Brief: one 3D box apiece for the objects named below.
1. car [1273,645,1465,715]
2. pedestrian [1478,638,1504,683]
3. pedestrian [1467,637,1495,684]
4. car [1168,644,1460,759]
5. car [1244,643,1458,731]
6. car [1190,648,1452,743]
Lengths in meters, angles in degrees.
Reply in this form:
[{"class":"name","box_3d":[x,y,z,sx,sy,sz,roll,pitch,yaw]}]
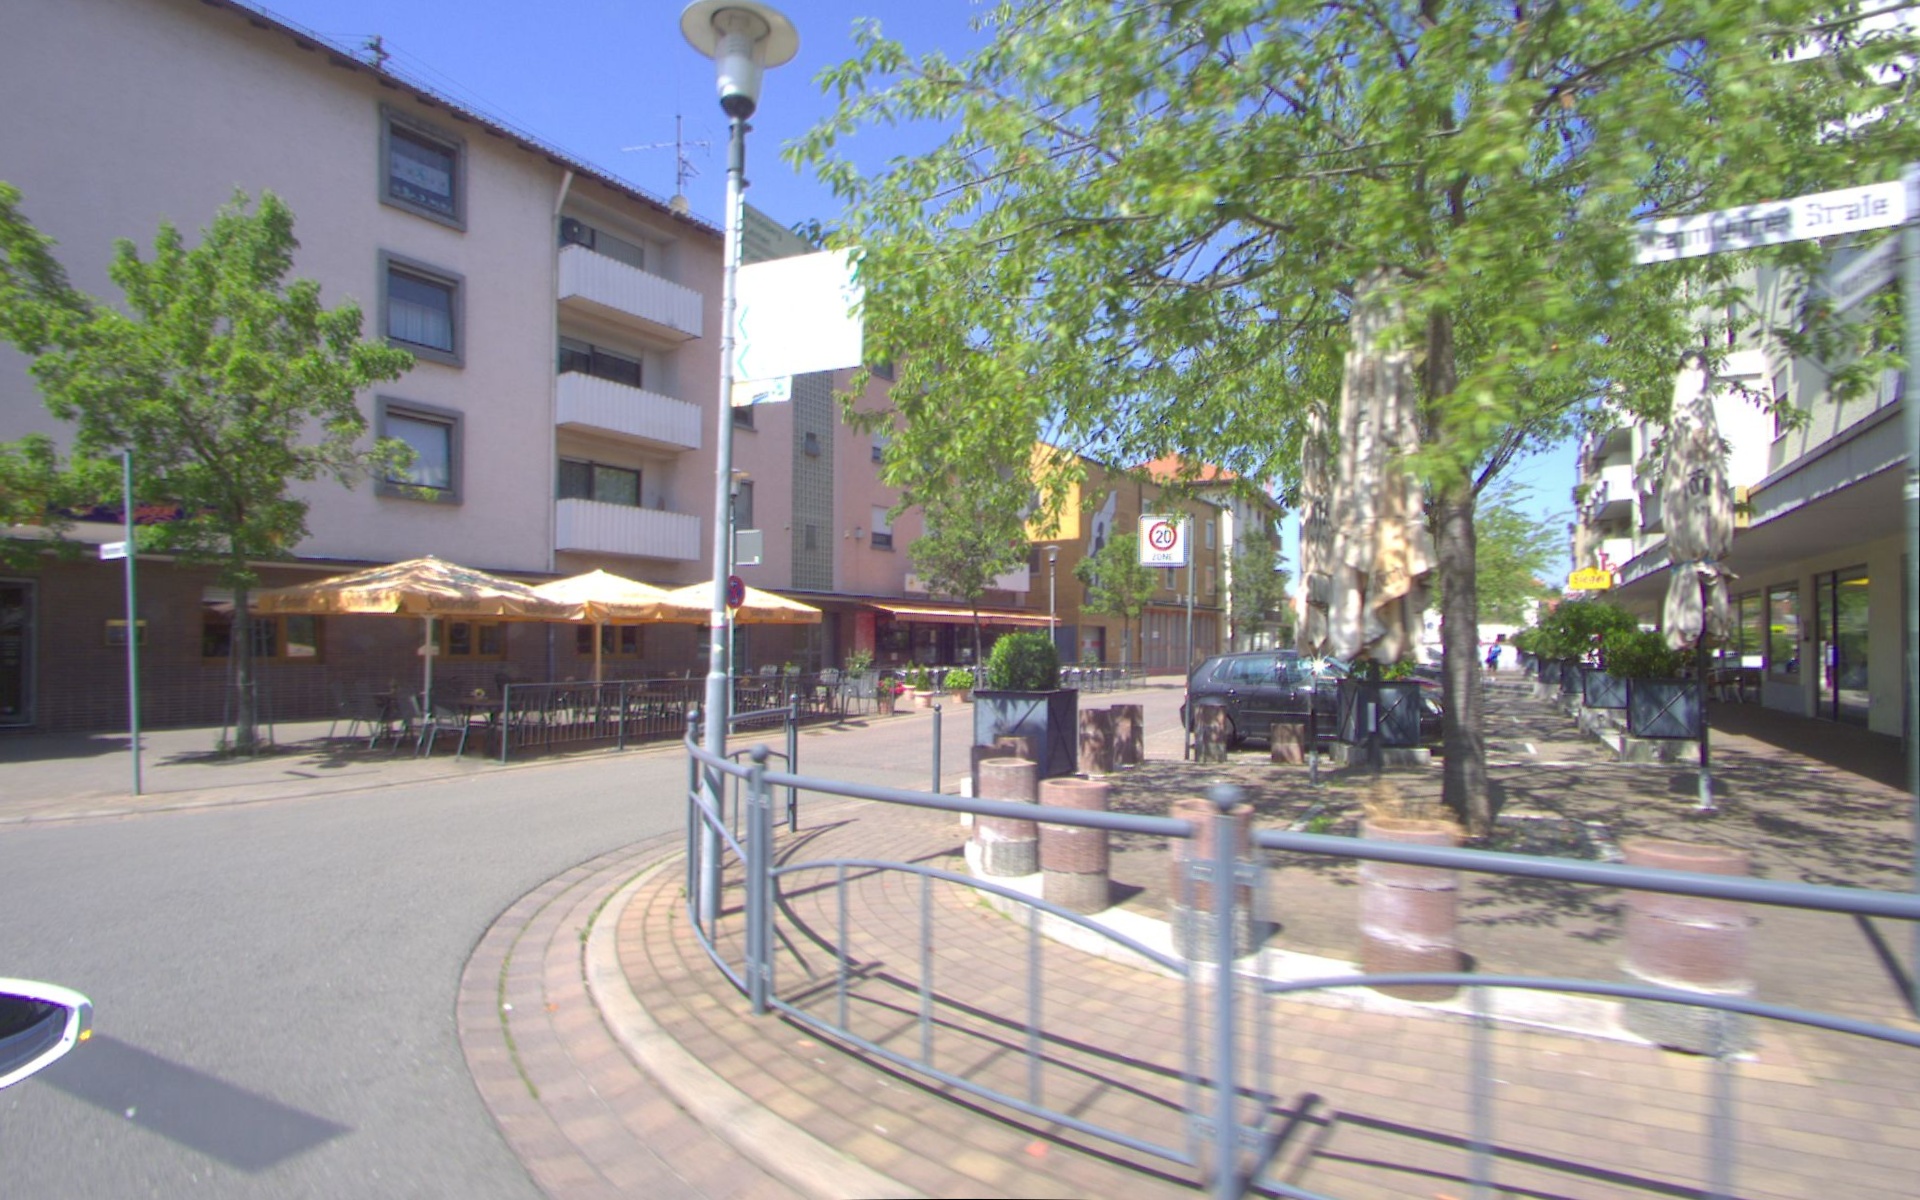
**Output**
[{"class":"car","box_3d":[9.851,1.875,24.242,4.127,1.560,1.941,-1,-3,25]},{"class":"pedestrian","box_3d":[21.592,2.451,40.746,0.826,1.810,0.805,0,-1,22]},{"class":"pedestrian","box_3d":[20.538,2.368,39.452,0.830,1.810,0.800,-1,-1,40]},{"class":"car","box_3d":[5.262,1.434,14.957,3.909,1.529,1.767,-2,-3,27]},{"class":"car","box_3d":[7.597,1.653,19.464,3.678,1.554,1.759,-2,-3,28]},{"class":"car","box_3d":[6.238,1.609,17.368,4.047,1.449,1.777,-2,-2,28]}]
